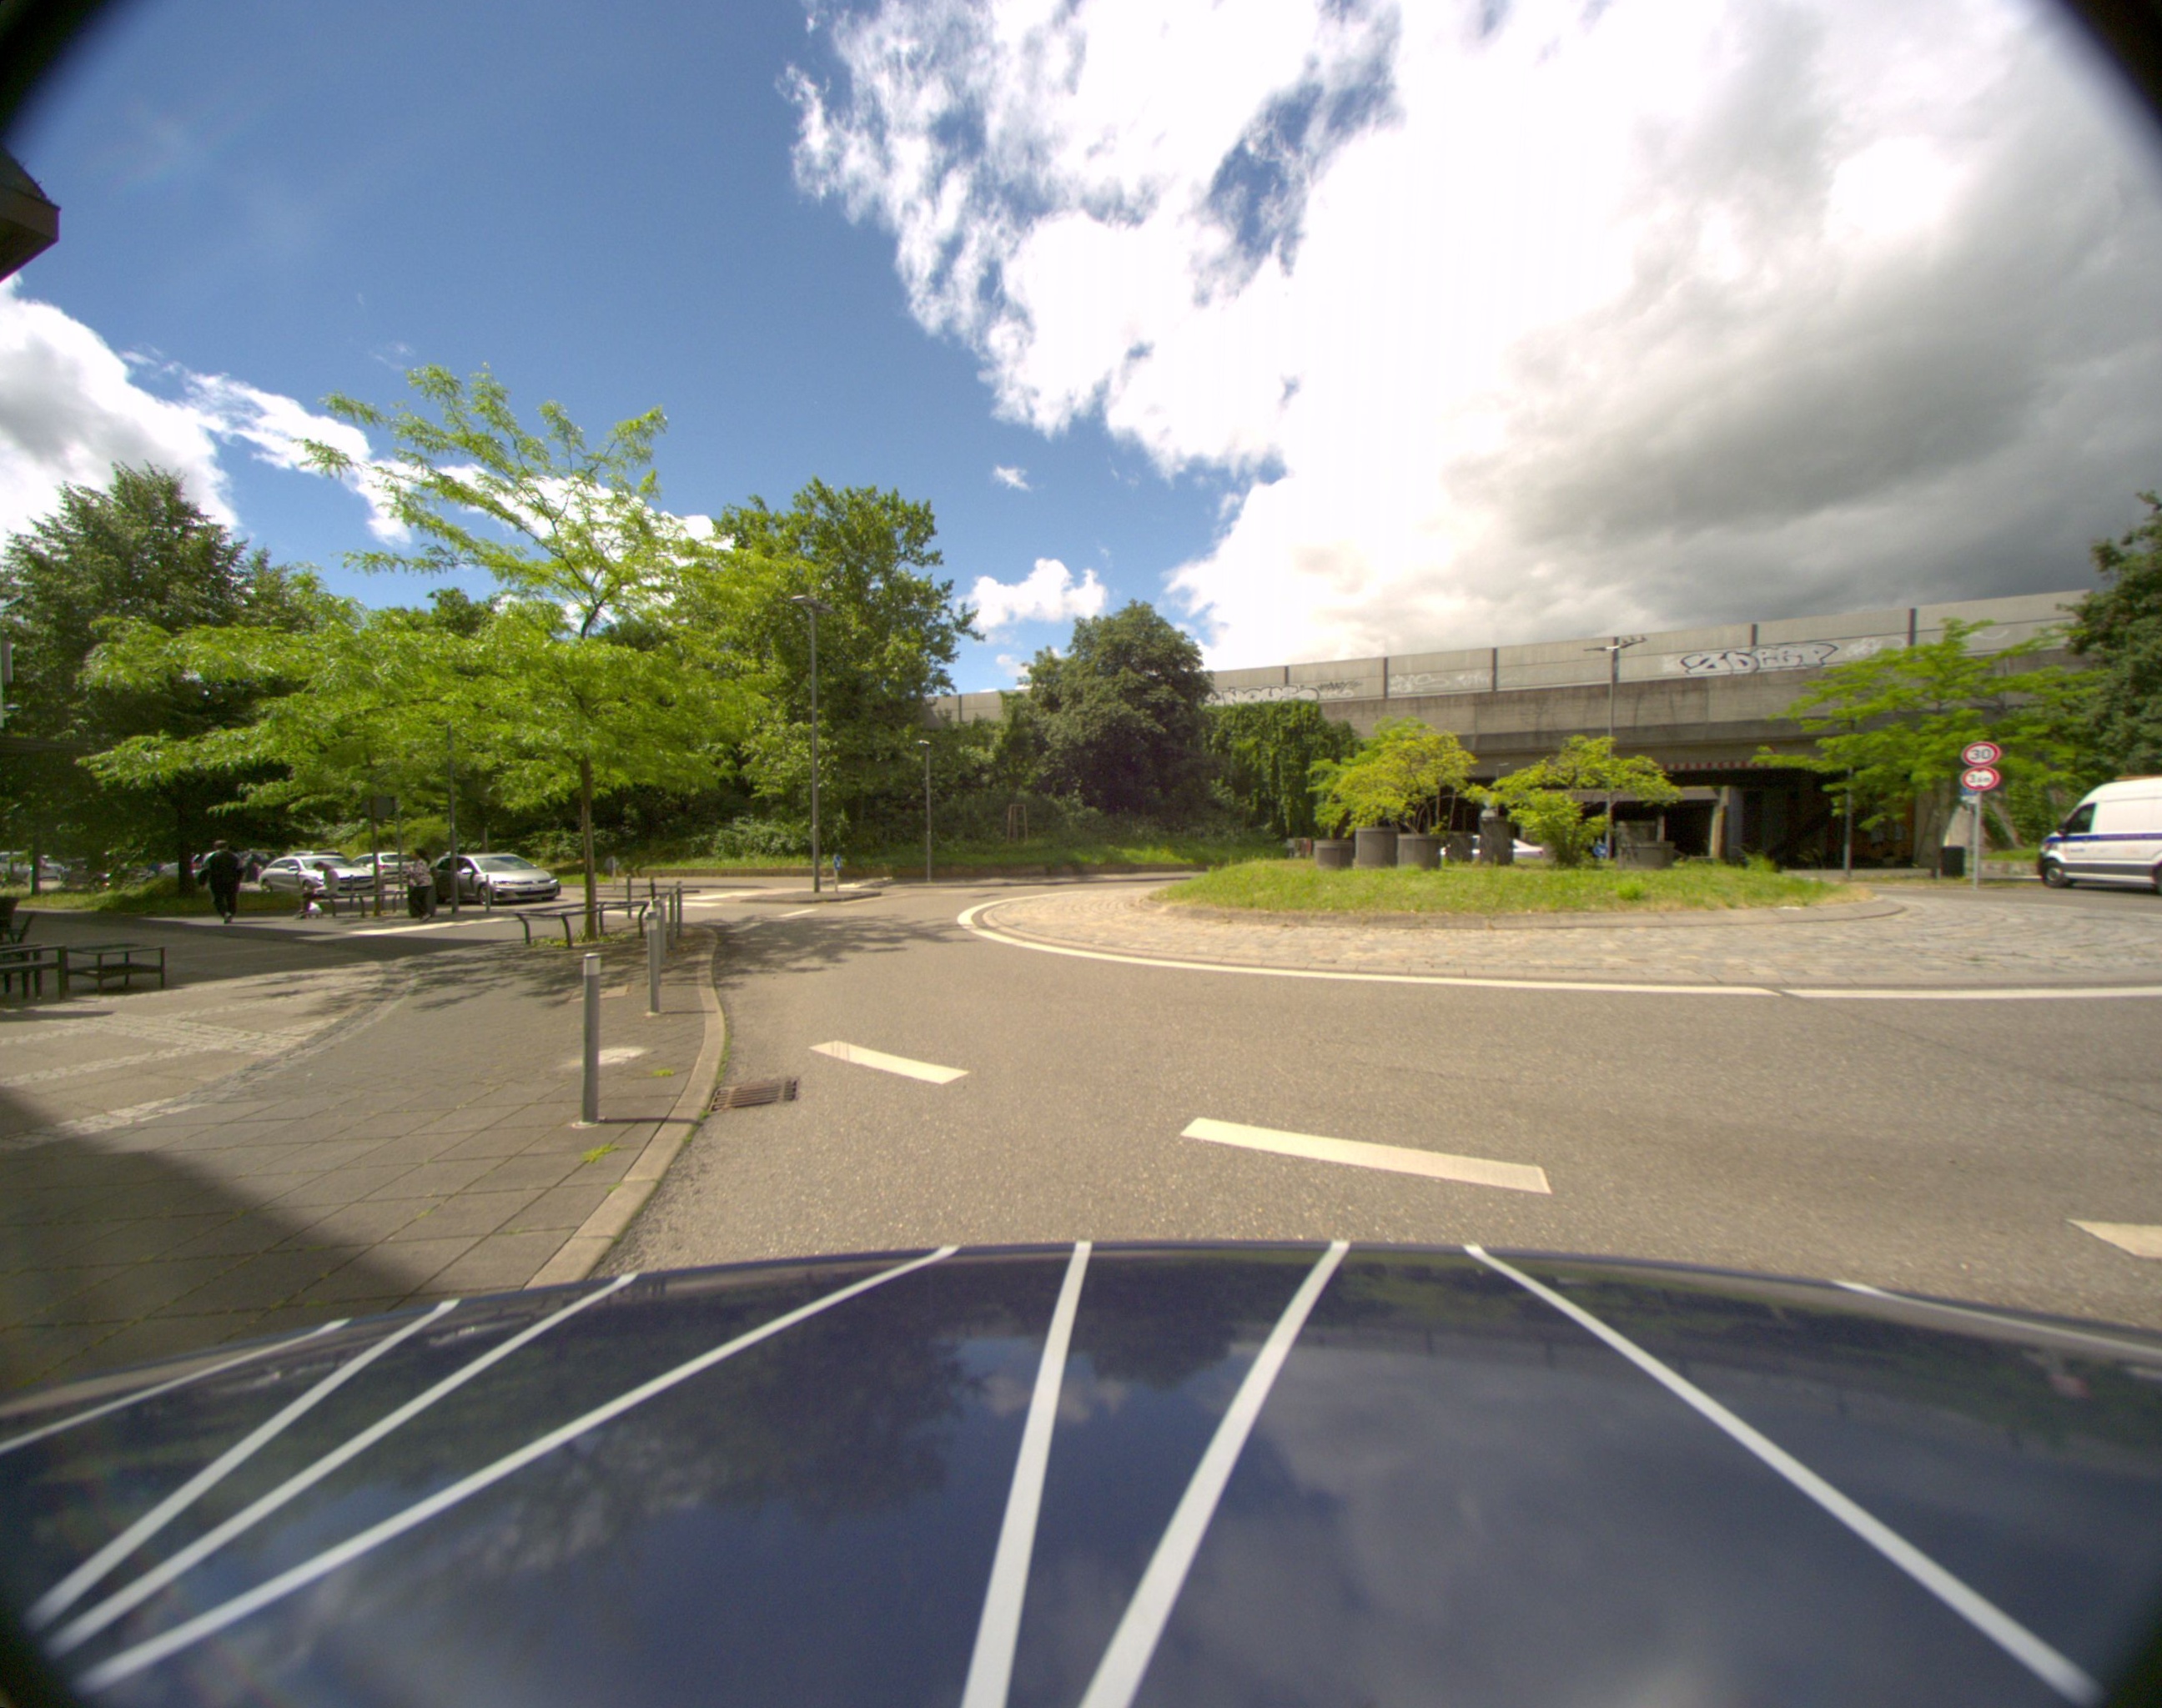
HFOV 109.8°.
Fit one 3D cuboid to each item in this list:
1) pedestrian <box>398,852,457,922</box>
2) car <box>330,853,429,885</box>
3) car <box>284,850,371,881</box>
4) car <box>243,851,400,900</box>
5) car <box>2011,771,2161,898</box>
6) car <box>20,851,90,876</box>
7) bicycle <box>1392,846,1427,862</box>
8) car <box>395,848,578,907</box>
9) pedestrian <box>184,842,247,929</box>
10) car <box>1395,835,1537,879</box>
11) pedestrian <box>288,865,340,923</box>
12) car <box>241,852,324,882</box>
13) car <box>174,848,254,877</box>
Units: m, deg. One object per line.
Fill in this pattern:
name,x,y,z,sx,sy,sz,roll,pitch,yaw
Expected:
pedestrian,-14.924,0.736,17.366,0.780,1.545,0.764,-1,1,-23
car,-32.748,0.672,35.490,3.990,1.323,1.759,0,4,22
car,-38.056,0.572,38.360,3.989,1.477,1.938,-1,1,27
car,-26.351,0.725,26.370,4.575,1.500,2.002,-1,2,19
car,23.739,-0.451,16.629,1.969,2.592,5.940,-1,1,26
car,-63.763,0.585,47.219,3.989,1.477,1.938,-1,1,27
bicycle,20.414,-0.008,47.272,1.946,0.899,0.507,1,3,26
car,-17.374,0.664,22.229,4.574,1.500,2.002,-1,3,20
pedestrian,-18.538,0.653,16.285,0.616,1.808,0.699,0,2,25
car,12.825,0.090,25.377,3.988,1.346,1.718,0,2,36
pedestrian,-17.649,0.907,17.494,0.616,1.277,0.699,0,1,32
car,-42.302,0.666,40.248,3.989,1.477,1.938,0,1,27
car,-47.316,0.445,41.464,3.989,1.477,1.938,-1,1,27
